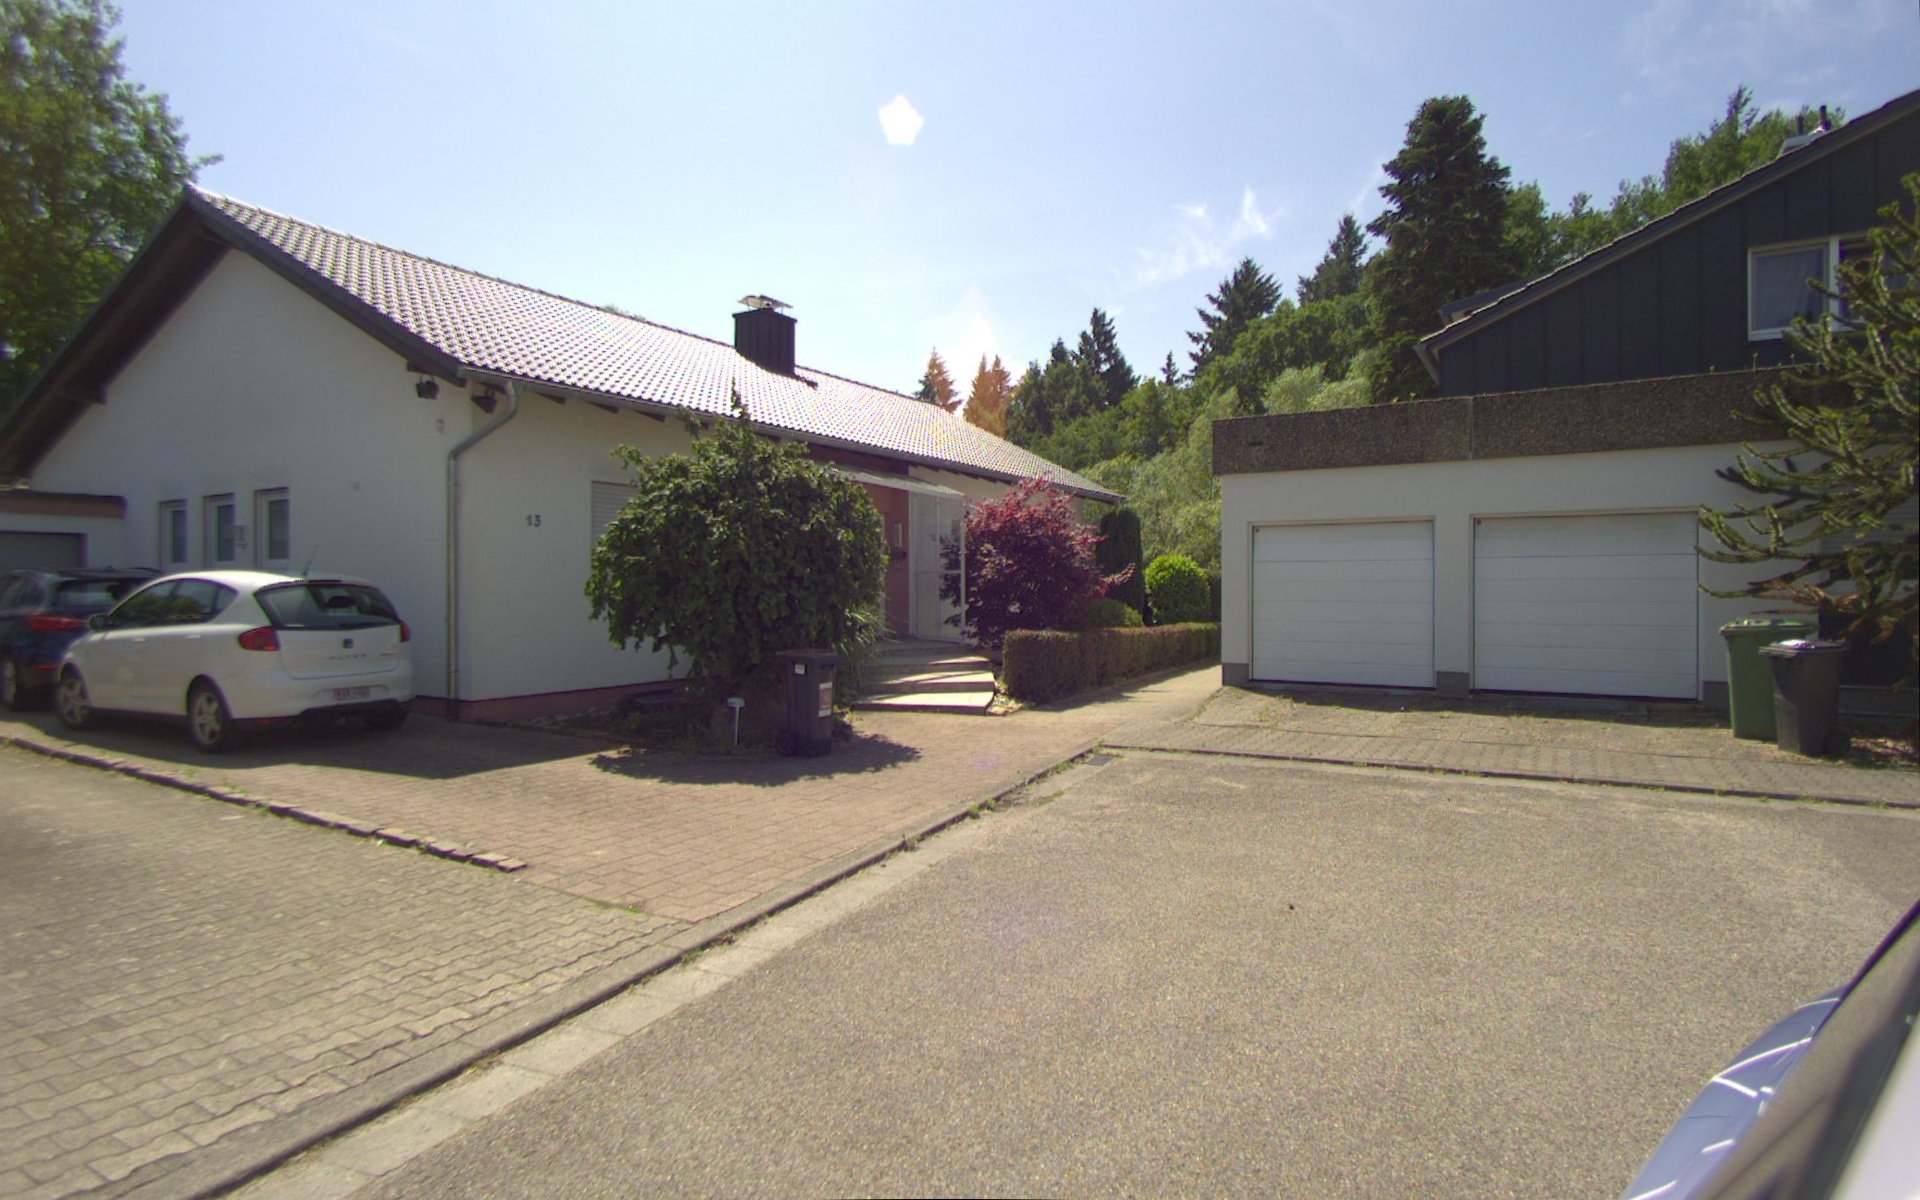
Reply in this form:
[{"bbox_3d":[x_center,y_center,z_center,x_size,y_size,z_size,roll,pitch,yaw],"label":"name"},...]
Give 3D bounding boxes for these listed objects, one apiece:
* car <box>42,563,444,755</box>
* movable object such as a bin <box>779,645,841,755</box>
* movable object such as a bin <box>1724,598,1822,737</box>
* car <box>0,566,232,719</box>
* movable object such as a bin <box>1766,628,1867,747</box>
[{"bbox_3d":[-7.173,0.458,10.076,3.964,1.588,1.735,0,1,29],"label":"car"},{"bbox_3d":[-1.315,0.861,8.880,0.387,0.902,0.371,0,1,31],"label":"movable object such as a bin"},{"bbox_3d":[7.419,0.590,9.260,0.629,1.218,0.545,0,0,32],"label":"movable object such as a bin"},{"bbox_3d":[-11.084,0.393,12.639,3.969,1.628,1.907,1,2,32],"label":"car"},{"bbox_3d":[7.212,0.723,8.534,0.515,0.962,0.389,0,0,5],"label":"movable object such as a bin"}]
